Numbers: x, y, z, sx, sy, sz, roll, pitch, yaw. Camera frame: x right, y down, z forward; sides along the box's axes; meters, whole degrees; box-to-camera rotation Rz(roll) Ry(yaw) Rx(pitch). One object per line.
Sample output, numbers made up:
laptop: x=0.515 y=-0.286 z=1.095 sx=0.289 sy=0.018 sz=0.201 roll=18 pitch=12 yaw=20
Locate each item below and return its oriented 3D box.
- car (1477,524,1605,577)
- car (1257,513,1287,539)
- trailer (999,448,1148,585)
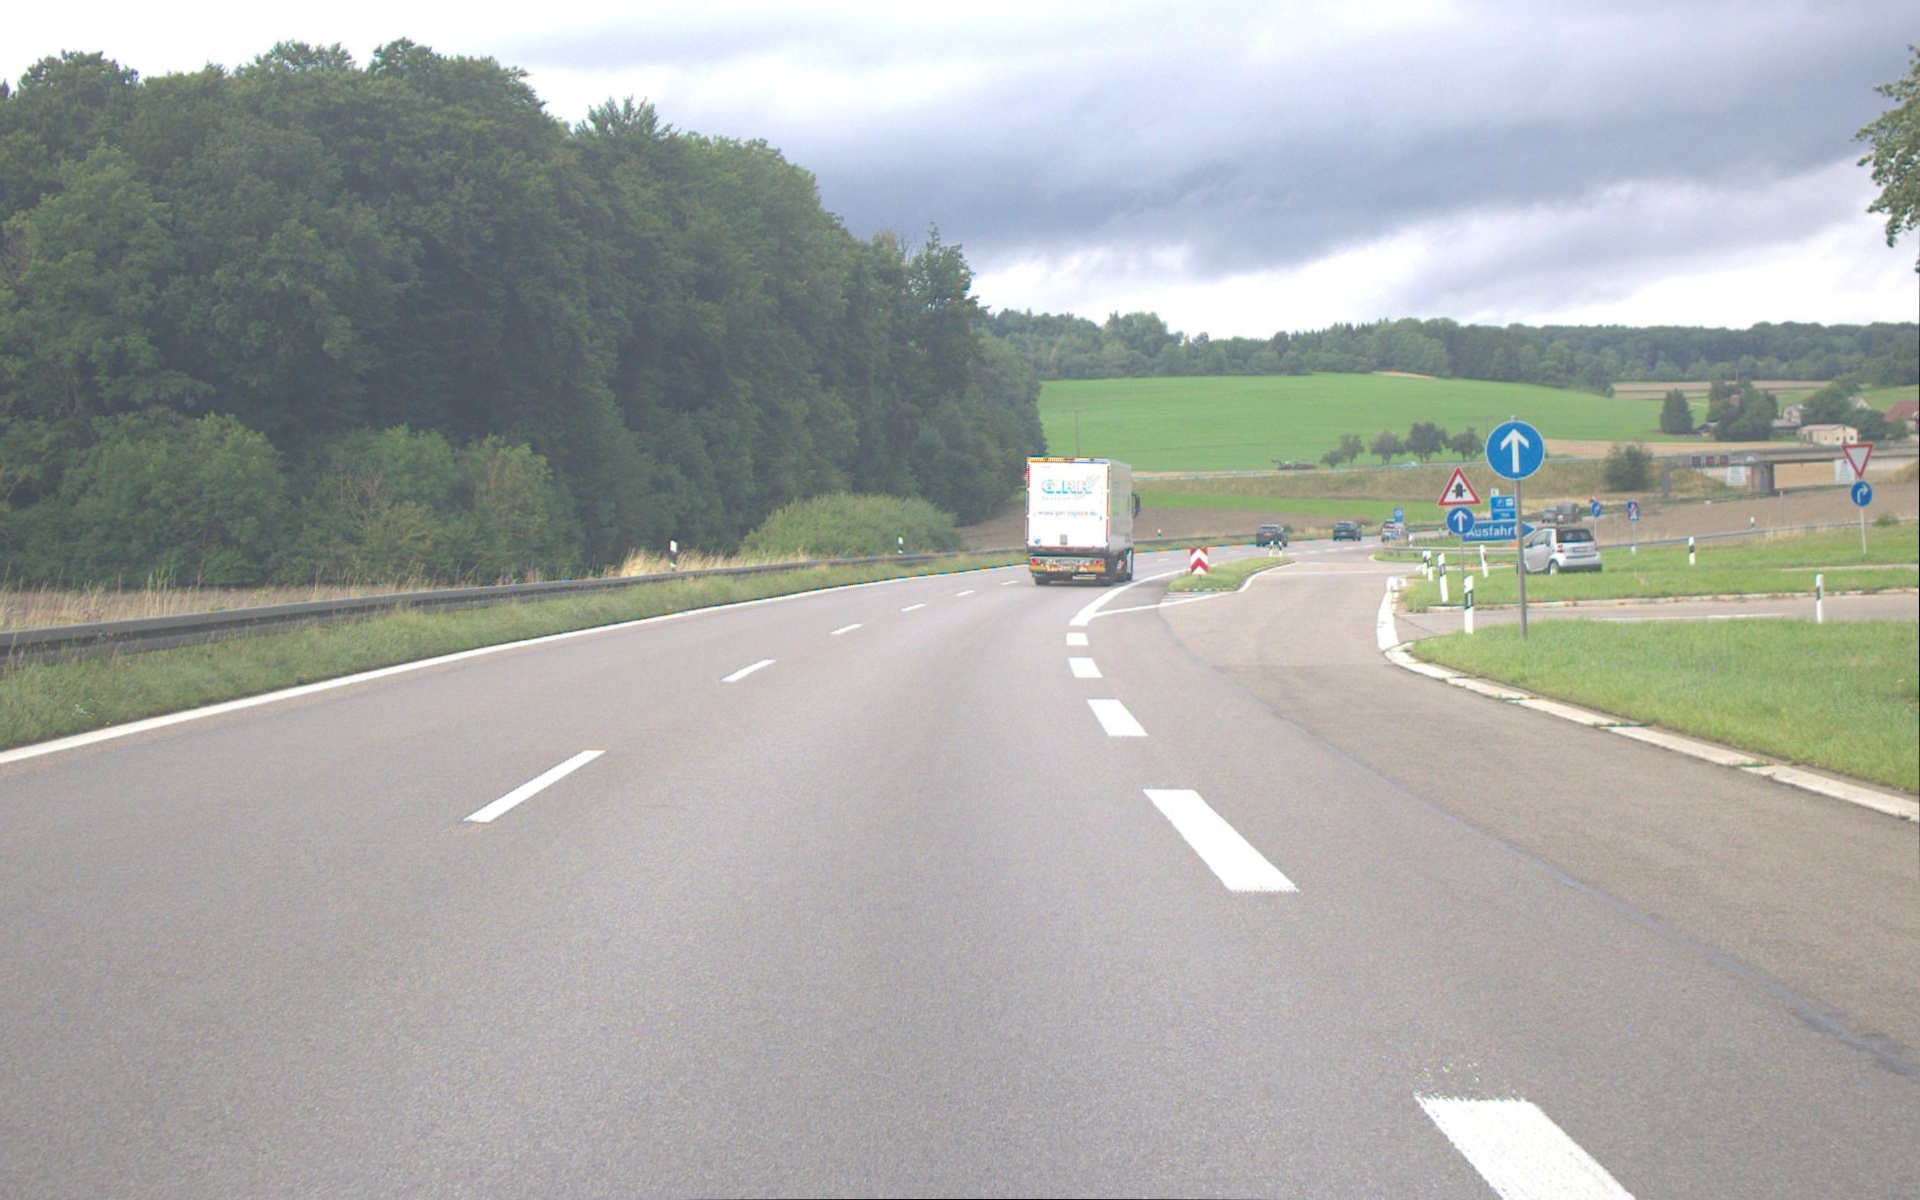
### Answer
car: x=17.696 y=-1.519 z=104.894 sx=1.777 sy=1.546 sz=4.001 roll=-2 pitch=2 yaw=-28
car: x=22.584 y=-5.361 z=248.606 sx=1.903 sy=1.789 sz=3.998 roll=0 pitch=0 yaw=9
trailer: x=3.838 y=-2.668 z=111.795 sx=3.806 sy=4.160 sz=14.805 roll=0 pitch=1 yaw=6
